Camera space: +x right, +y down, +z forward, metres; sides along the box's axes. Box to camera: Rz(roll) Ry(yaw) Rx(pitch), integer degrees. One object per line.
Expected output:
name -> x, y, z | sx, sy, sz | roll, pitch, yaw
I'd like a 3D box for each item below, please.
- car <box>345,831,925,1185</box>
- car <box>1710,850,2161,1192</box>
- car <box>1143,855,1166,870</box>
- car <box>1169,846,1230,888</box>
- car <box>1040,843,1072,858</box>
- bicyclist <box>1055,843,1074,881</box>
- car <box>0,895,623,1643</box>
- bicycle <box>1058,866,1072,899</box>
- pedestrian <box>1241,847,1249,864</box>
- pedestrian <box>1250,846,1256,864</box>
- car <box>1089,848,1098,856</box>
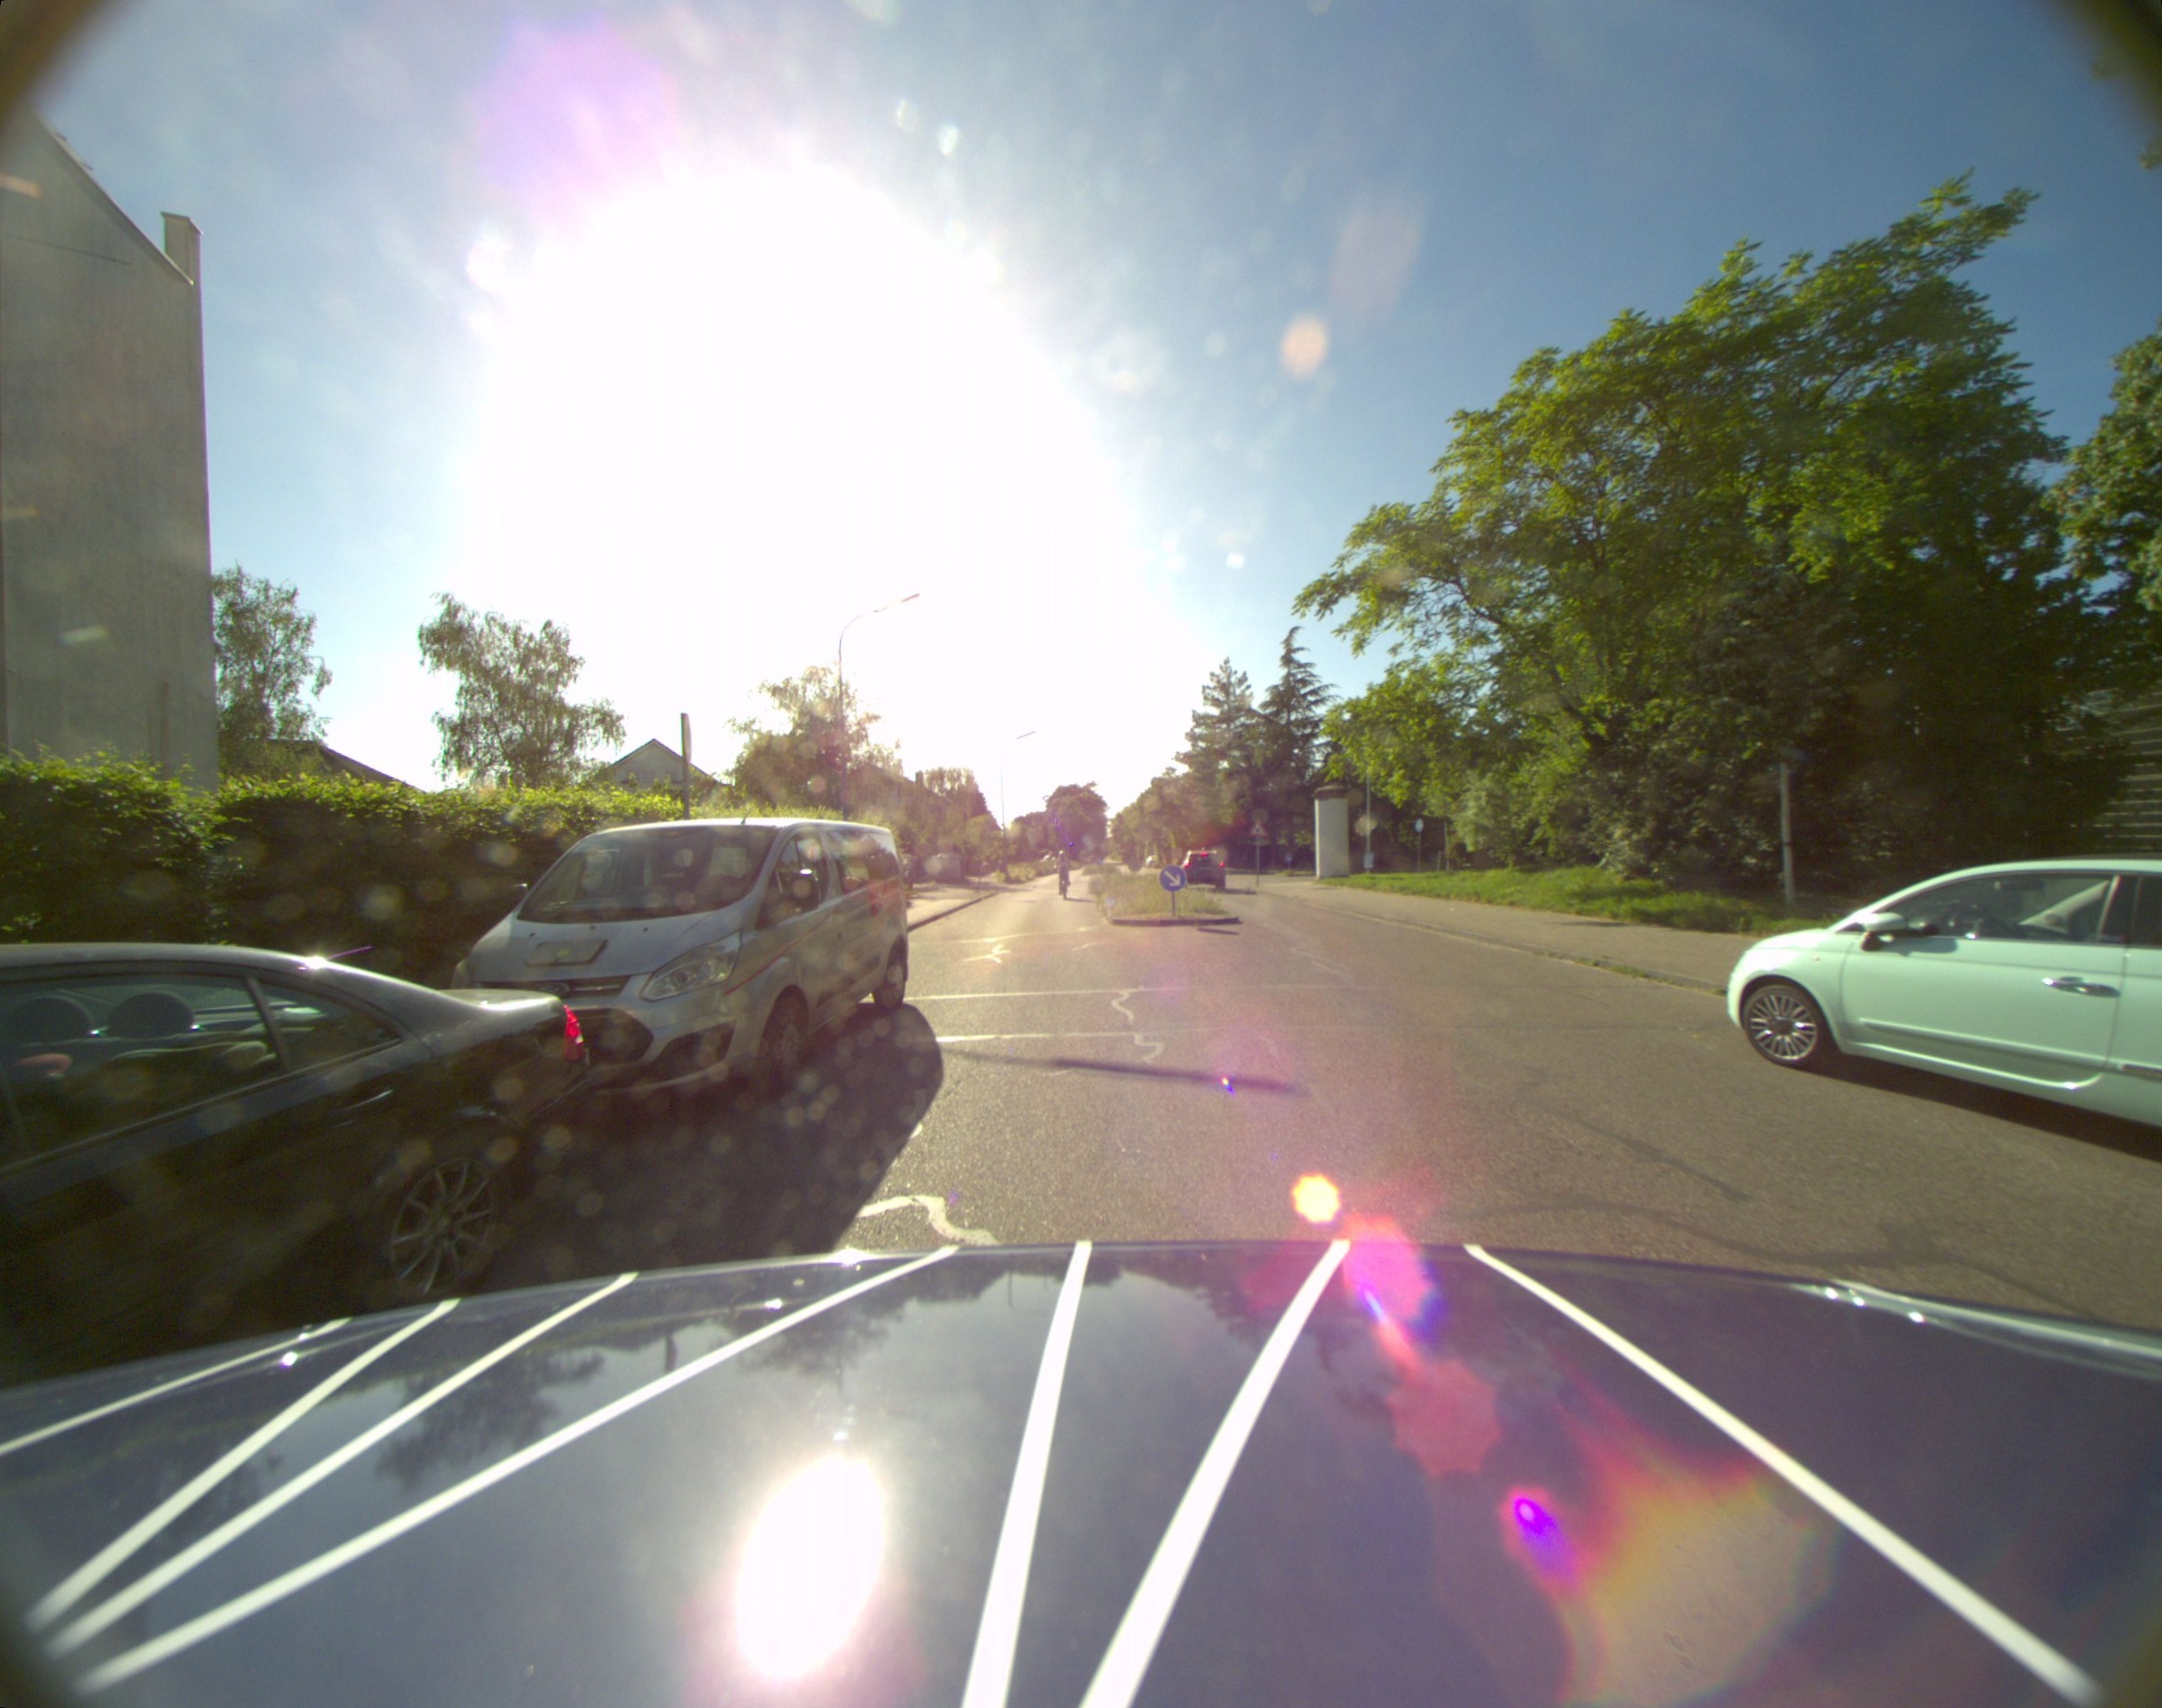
car -> -2.945, 0.817, 6.625 | 1.998, 1.901, 4.953 | -1, 1, 1
car -> 5.663, 0.753, 4.076 | 1.630, 1.519, 3.418 | -1, 1, -3
car -> 8.693, 0.951, 89.963 | 1.999, 1.649, 3.998 | -1, 1, -4
car -> 5.139, 0.507, 33.388 | 1.918, 1.696, 4.184 | 0, 1, -2
car -> -3.239, -0.458, 97.879 | 3.657, 1.707, 1.744 | -2, 1, -35
bicyclist -> -0.598, 0.278, 27.880 | 0.638, 1.340, 0.838 | -1, 1, -1
car -> -3.260, 0.963, 1.255 | 1.999, 1.409, 4.923 | -1, 1, 0
bicycle -> -0.589, 1.023, 27.852 | 0.458, 1.138, 1.897 | -1, 1, -2
pedestrian -> 14.293, 0.122, 66.229 | 0.539, 1.512, 0.395 | -2, 1, -23
pedestrian -> 14.910, 0.084, 65.774 | 0.396, 1.552, 0.538 | -1, 2, 4
car -> 3.141, -0.472, 189.178 | 1.998, 1.805, 4.000 | -1, 1, 2
